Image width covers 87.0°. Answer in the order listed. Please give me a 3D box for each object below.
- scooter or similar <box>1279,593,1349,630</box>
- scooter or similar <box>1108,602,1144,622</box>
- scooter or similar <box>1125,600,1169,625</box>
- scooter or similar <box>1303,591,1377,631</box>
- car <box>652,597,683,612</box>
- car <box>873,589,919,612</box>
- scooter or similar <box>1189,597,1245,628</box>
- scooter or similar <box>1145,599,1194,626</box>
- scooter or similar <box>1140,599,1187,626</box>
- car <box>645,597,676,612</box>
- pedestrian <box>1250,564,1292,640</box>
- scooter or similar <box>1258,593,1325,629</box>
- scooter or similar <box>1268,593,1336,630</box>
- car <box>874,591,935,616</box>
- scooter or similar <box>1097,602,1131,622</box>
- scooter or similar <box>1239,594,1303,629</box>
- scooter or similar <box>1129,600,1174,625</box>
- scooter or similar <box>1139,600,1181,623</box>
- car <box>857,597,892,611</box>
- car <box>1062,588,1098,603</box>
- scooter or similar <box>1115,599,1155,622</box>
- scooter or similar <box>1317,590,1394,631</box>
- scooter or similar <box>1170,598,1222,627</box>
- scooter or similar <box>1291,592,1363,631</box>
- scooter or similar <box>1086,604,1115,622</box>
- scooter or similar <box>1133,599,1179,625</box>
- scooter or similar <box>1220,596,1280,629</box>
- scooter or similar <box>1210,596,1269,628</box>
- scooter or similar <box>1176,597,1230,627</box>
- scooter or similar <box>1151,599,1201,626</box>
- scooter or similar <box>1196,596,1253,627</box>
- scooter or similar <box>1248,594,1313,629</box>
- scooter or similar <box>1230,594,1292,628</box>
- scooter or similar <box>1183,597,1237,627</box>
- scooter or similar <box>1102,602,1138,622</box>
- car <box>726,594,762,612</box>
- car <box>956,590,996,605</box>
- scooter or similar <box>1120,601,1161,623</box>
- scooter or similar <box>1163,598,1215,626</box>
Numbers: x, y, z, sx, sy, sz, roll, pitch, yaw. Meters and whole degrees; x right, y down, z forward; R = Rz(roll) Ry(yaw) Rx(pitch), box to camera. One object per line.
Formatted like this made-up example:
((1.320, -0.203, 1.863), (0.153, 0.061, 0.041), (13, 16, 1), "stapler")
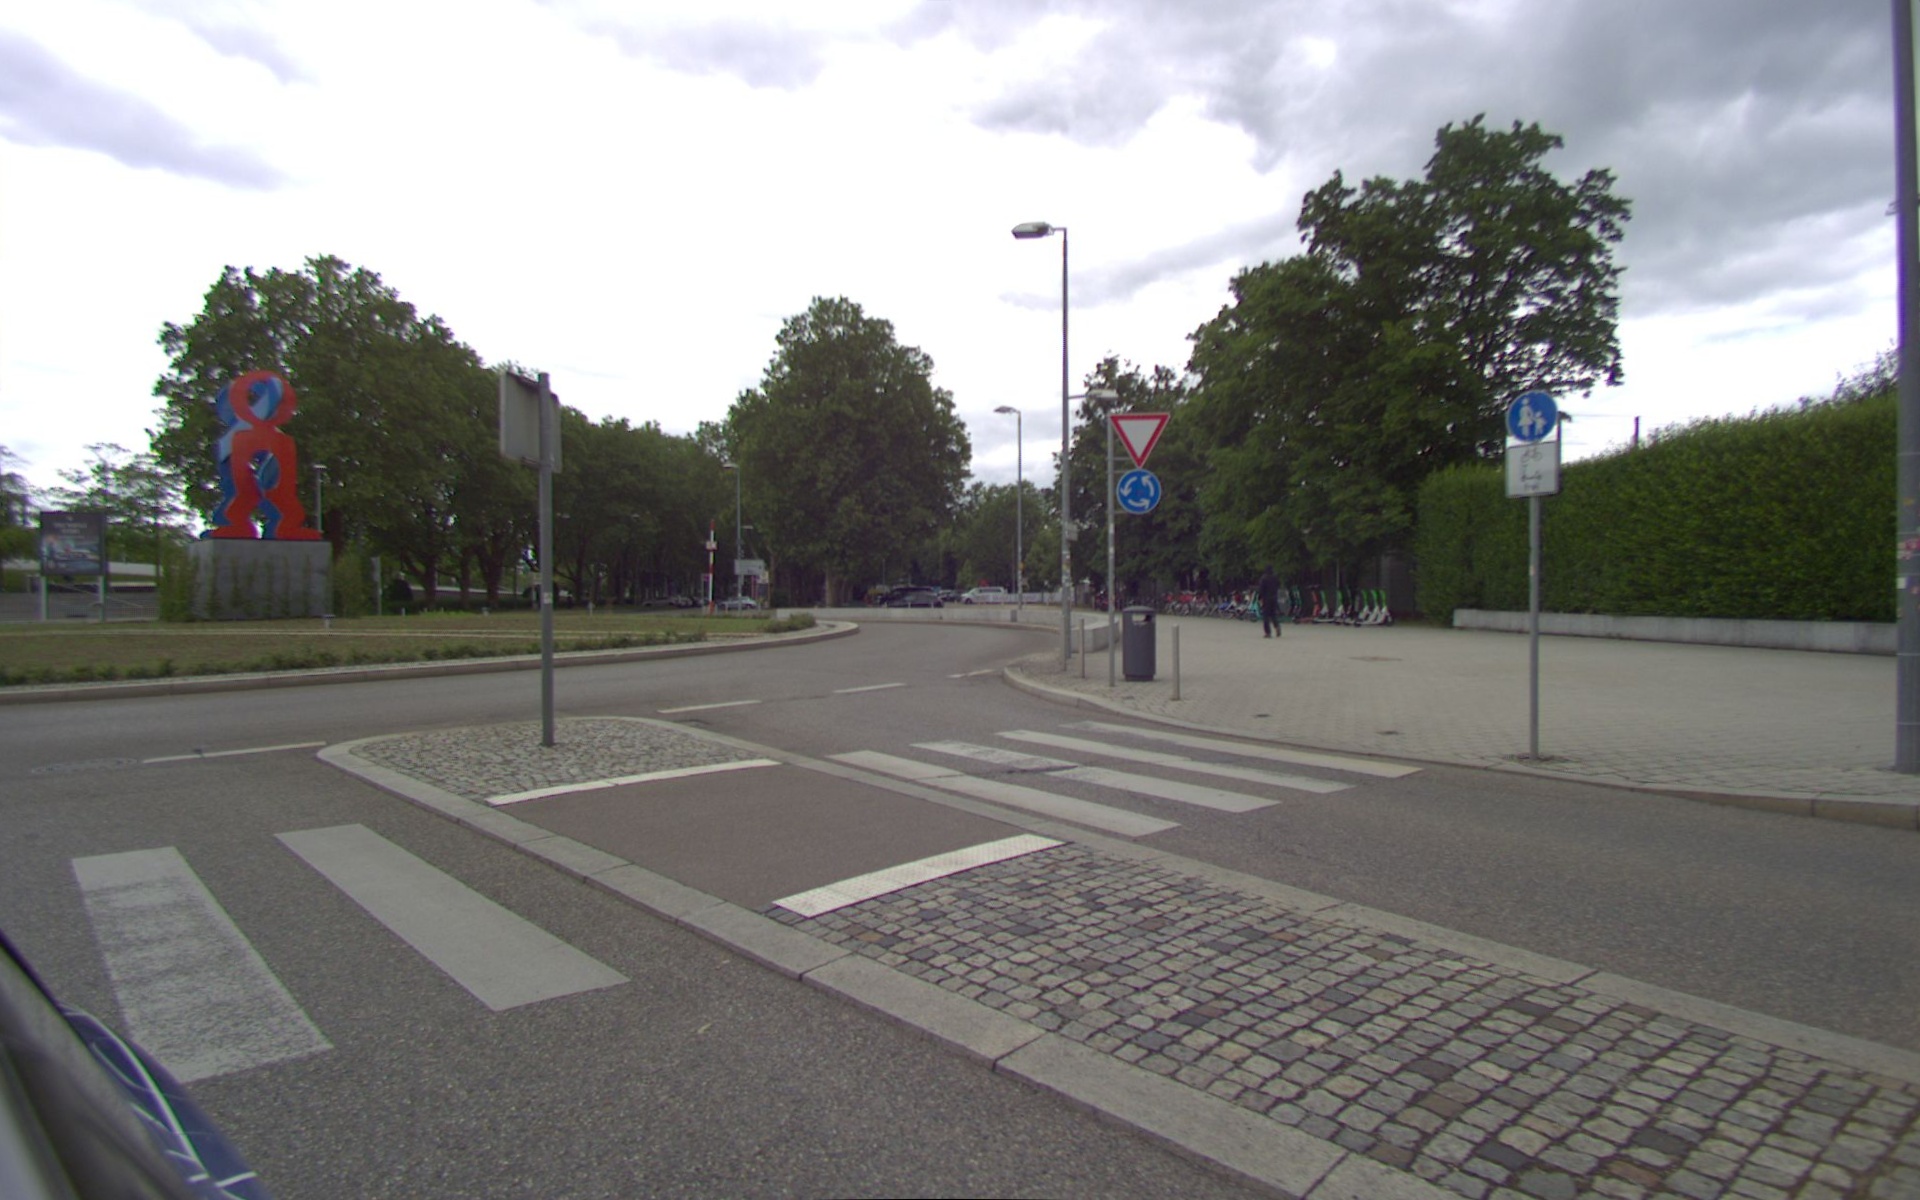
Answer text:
((11.002, 0.357, 31.501), (1.944, 1.117, 0.641), (-1, -1, -8), "scooter or similar")
((9.487, 0.692, 57.863), (1.944, 1.117, 0.641), (-1, -1, -8), "scooter or similar")
((8.950, 0.596, 48.568), (1.944, 1.113, 0.641), (-1, -1, -8), "scooter or similar")
((11.265, 0.325, 29.981), (1.944, 1.117, 0.641), (-1, -1, -8), "scooter or similar")
((-36.970, 0.539, 127.911), (3.405, 1.863, 1.686), (0, 0, 3), "car")
((-5.295, 0.069, 83.679), (3.656, 1.791, 1.672), (-1, -1, -4), "car")
((9.905, 0.470, 38.986), (1.944, 1.117, 0.641), (-1, -1, -8), "scooter or similar")
((9.193, 0.539, 44.455), (1.944, 1.117, 0.641), (-1, -1, -8), "scooter or similar")
((9.129, 0.560, 45.498), (1.944, 1.117, 0.641), (-1, -1, -8), "scooter or similar")
((-36.434, 0.549, 123.328), (3.396, 1.697, 1.691), (0, 0, -7), "car")
((7.613, 0.057, 24.794), (0.790, 1.821, 0.857), (-2, -1, 29), "pedestrian")
((10.778, 0.368, 32.953), (1.944, 1.117, 0.641), (-1, -1, -8), "scooter or similar")
((10.894, 0.363, 32.258), (1.944, 1.117, 0.641), (-1, -1, -8), "scooter or similar")
((-3.587, 0.238, 65.364), (3.766, 1.536, 1.782), (-1, -1, -7), "car")
((9.367, 0.736, 61.611), (1.944, 1.117, 0.641), (-1, -1, -8), "scooter or similar")
((10.574, 0.393, 34.420), (1.944, 1.117, 0.641), (-1, -1, -8), "scooter or similar")
((9.056, 0.579, 47.798), (1.944, 1.117, 0.641), (-1, -1, -8), "scooter or similar")
((10.072, 0.591, 50.904), (1.944, 1.117, 0.641), (-1, -1, -8), "scooter or similar")
((-10.119, 0.480, 120.211), (3.955, 1.530, 1.870), (-2, -1, 3), "car")
((14.414, -0.577, 121.708), (3.894, 1.664, 1.800), (-1, -1, -8), "car")
((9.185, 0.553, 53.077), (1.944, 1.117, 0.641), (-1, -1, -8), "scooter or similar")
((11.381, 0.304, 29.143), (1.944, 1.117, 0.641), (-1, -1, -8), "scooter or similar")
((9.589, 0.502, 41.137), (1.944, 1.117, 0.641), (-1, -1, -8), "scooter or similar")
((11.142, 0.345, 30.777), (1.944, 1.117, 0.641), (-1, -1, -8), "scooter or similar")
((9.007, 0.811, 64.886), (1.781, 1.103, 0.546), (-1, -1, -8), "scooter or similar")
((8.981, 0.563, 46.463), (1.944, 1.117, 0.641), (-1, -1, -8), "scooter or similar")
((10.333, 0.431, 36.087), (1.944, 1.117, 0.641), (-1, -1, -8), "scooter or similar")
((10.187, 0.432, 36.934), (1.944, 1.117, 0.641), (-1, -1, -8), "scooter or similar")
((9.699, 0.477, 40.414), (1.944, 1.117, 0.641), (-1, -1, -8), "scooter or similar")
((9.302, 0.523, 43.570), (1.944, 1.117, 0.641), (-1, -1, -8), "scooter or similar")
((10.012, 0.448, 38.282), (1.944, 1.117, 0.641), (-1, -1, -8), "scooter or similar")
((10.658, 0.387, 33.654), (1.944, 1.117, 0.641), (-1, -1, -8), "scooter or similar")
((10.466, 0.395, 35.224), (1.944, 1.117, 0.641), (-1, -1, -8), "scooter or similar")
((9.793, 0.462, 39.690), (1.944, 1.117, 0.641), (-1, -1, -8), "scooter or similar")
((9.393, 0.705, 59.520), (1.944, 1.117, 0.641), (-1, -1, -8), "scooter or similar")
((-23.885, 0.330, 111.763), (3.656, 1.791, 1.672), (-1, -1, -4), "car")
((1.858, -0.277, 118.852), (4.366, 1.664, 1.800), (-1, -1, -8), "car")
((9.340, 0.618, 52.401), (1.944, 1.117, 0.641), (-1, -1, -8), "scooter or similar")
((9.464, 0.501, 41.848), (1.944, 1.117, 0.641), (-1, -1, -8), "scooter or similar")
